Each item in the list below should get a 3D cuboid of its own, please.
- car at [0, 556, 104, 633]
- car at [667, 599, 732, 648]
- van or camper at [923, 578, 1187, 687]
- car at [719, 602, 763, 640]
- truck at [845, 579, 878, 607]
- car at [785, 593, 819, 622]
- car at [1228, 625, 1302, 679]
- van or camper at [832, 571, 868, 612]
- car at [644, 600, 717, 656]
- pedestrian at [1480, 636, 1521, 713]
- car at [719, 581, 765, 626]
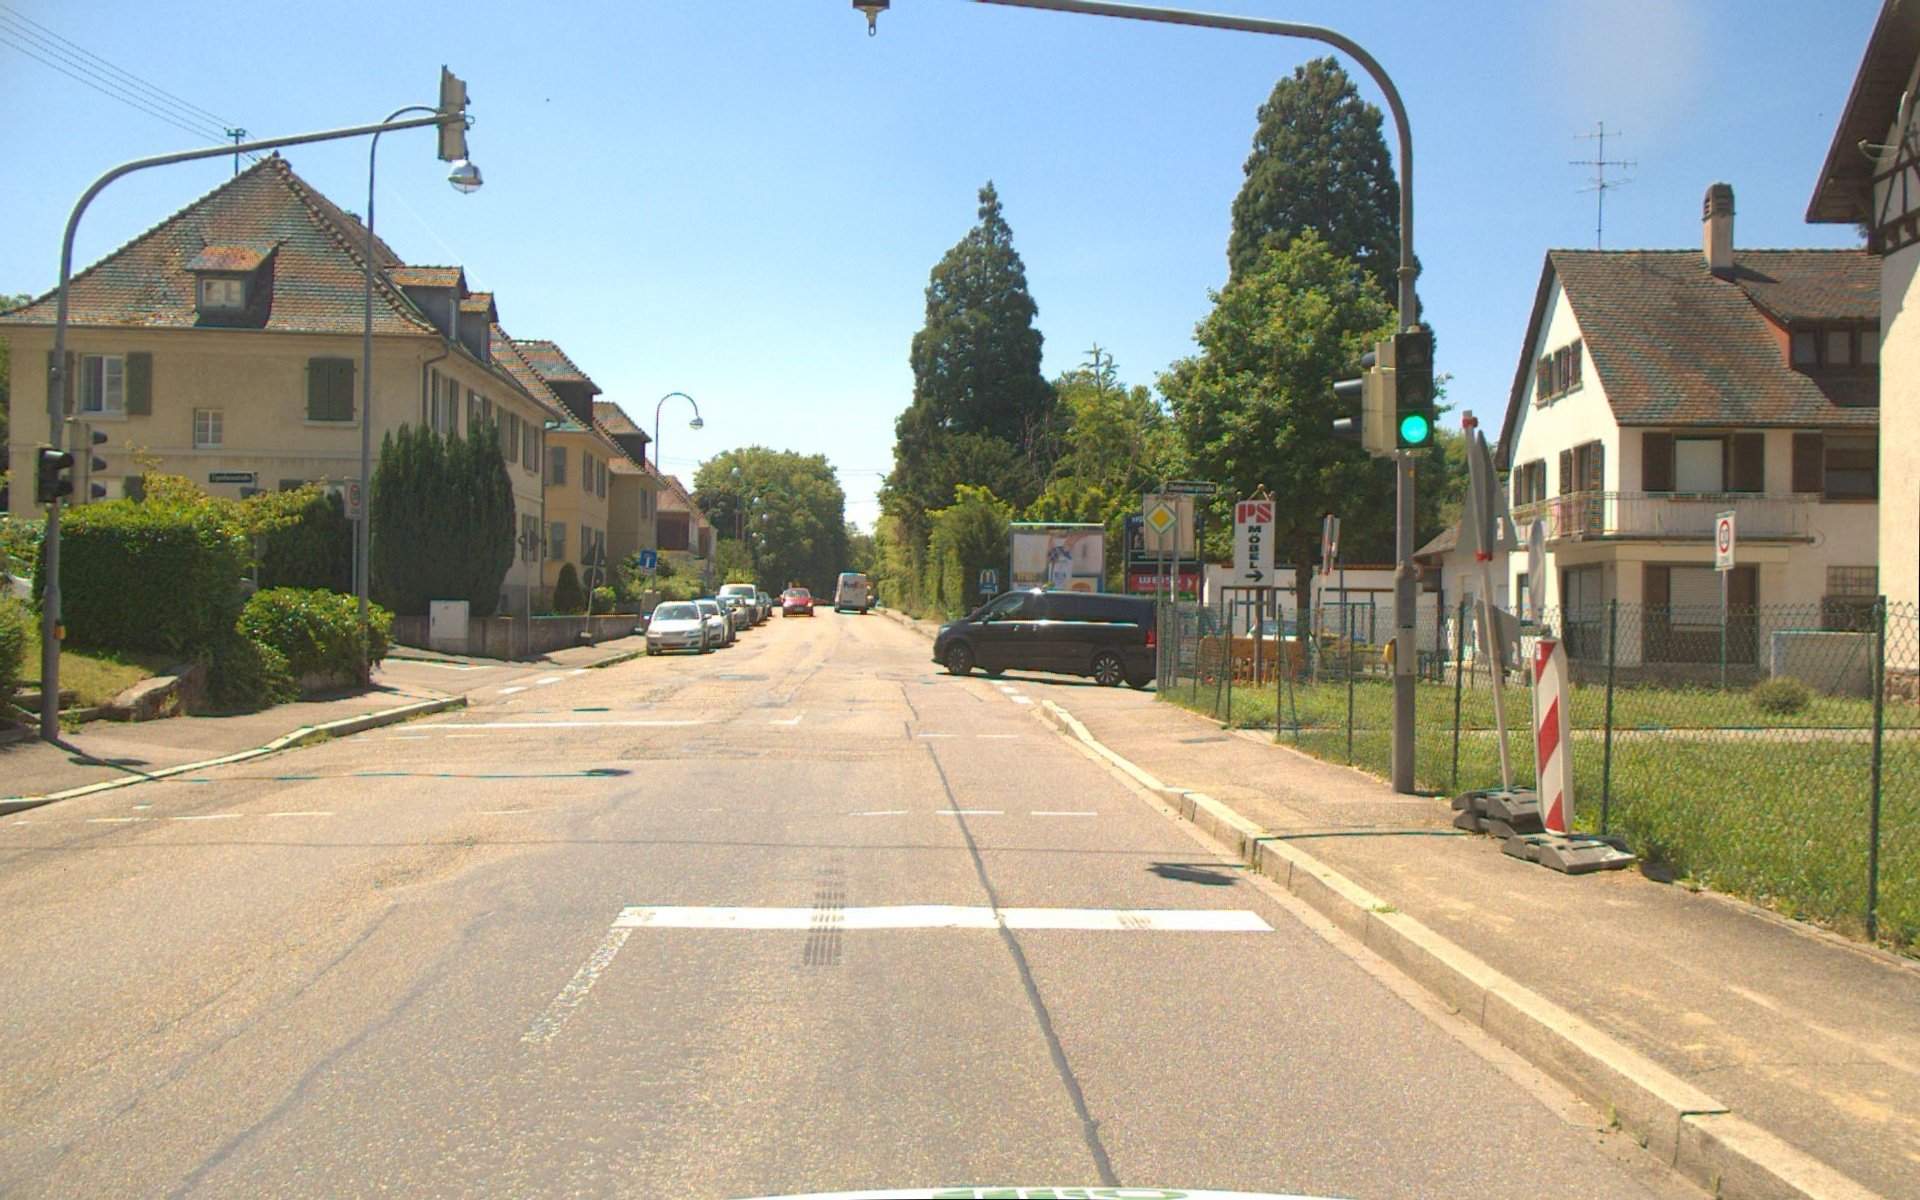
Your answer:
[{"bbox_3d":[-20.161,-0.177,34.581,3.506,1.482,1.749,4,-1,2],"label":"car"},{"bbox_3d":[-8.127,0.708,51.921,1.760,1.426,4.214,-1,0,-6],"label":"car"},{"bbox_3d":[1.968,0.632,34.610,5.148,2.049,1.908,2,0,25],"label":"van or camper"},{"bbox_3d":[-9.292,0.872,70.445,1.654,1.552,4.058,1,0,-5],"label":"car"},{"bbox_3d":[-8.335,-0.596,139.447,2.312,2.298,6.080,1,0,-8],"label":"truck"},{"bbox_3d":[-8.815,0.419,92.340,1.778,1.593,3.693,-1,0,-4],"label":"car"},{"bbox_3d":[8.048,1.357,43.844,1.675,1.292,3.387,1,0,7],"label":"car"},{"bbox_3d":[-7.253,-0.552,108.508,2.219,2.572,4.754,-1,0,-6],"label":"van or camper"},{"bbox_3d":[-7.853,0.758,46.758,1.725,1.473,3.920,-1,0,-6],"label":"car"},{"bbox_3d":[11.614,1.598,35.548,0.681,1.628,0.572,0,0,-4],"label":"pedestrian"},{"bbox_3d":[-10.216,0.120,77.672,1.841,1.997,4.621,-2,1,-5],"label":"car"}]
